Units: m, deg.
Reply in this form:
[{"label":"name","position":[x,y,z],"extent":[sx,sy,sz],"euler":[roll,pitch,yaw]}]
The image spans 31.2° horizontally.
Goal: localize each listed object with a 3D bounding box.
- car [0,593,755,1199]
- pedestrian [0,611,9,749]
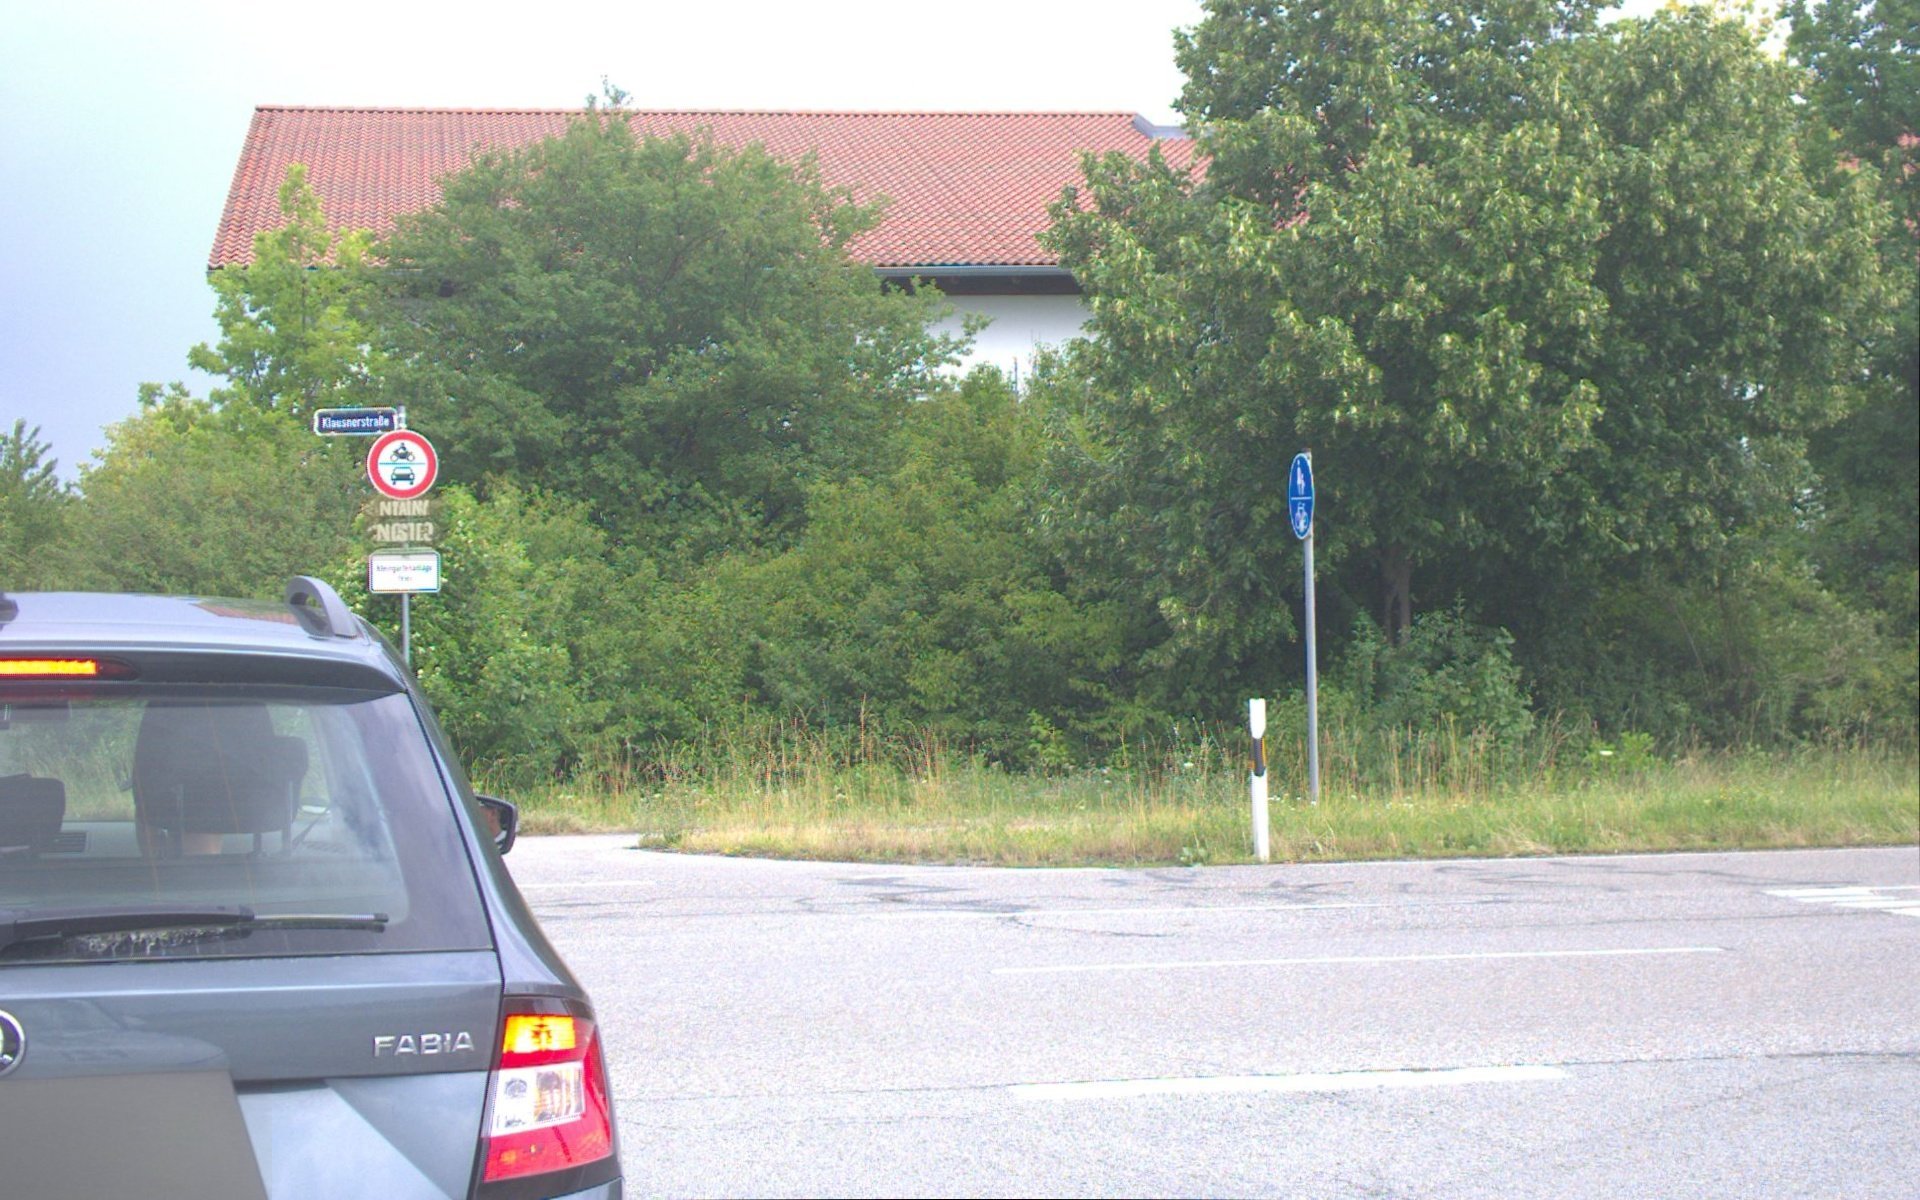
[{"label":"car","position":[-1.595,0.730,5.434],"extent":[1.676,1.458,3.708],"euler":[-1,0,-18]},{"label":"pedestrian","position":[-12.057,0.993,42.002],"extent":[0.584,1.677,0.565],"euler":[-1,1,18]}]
